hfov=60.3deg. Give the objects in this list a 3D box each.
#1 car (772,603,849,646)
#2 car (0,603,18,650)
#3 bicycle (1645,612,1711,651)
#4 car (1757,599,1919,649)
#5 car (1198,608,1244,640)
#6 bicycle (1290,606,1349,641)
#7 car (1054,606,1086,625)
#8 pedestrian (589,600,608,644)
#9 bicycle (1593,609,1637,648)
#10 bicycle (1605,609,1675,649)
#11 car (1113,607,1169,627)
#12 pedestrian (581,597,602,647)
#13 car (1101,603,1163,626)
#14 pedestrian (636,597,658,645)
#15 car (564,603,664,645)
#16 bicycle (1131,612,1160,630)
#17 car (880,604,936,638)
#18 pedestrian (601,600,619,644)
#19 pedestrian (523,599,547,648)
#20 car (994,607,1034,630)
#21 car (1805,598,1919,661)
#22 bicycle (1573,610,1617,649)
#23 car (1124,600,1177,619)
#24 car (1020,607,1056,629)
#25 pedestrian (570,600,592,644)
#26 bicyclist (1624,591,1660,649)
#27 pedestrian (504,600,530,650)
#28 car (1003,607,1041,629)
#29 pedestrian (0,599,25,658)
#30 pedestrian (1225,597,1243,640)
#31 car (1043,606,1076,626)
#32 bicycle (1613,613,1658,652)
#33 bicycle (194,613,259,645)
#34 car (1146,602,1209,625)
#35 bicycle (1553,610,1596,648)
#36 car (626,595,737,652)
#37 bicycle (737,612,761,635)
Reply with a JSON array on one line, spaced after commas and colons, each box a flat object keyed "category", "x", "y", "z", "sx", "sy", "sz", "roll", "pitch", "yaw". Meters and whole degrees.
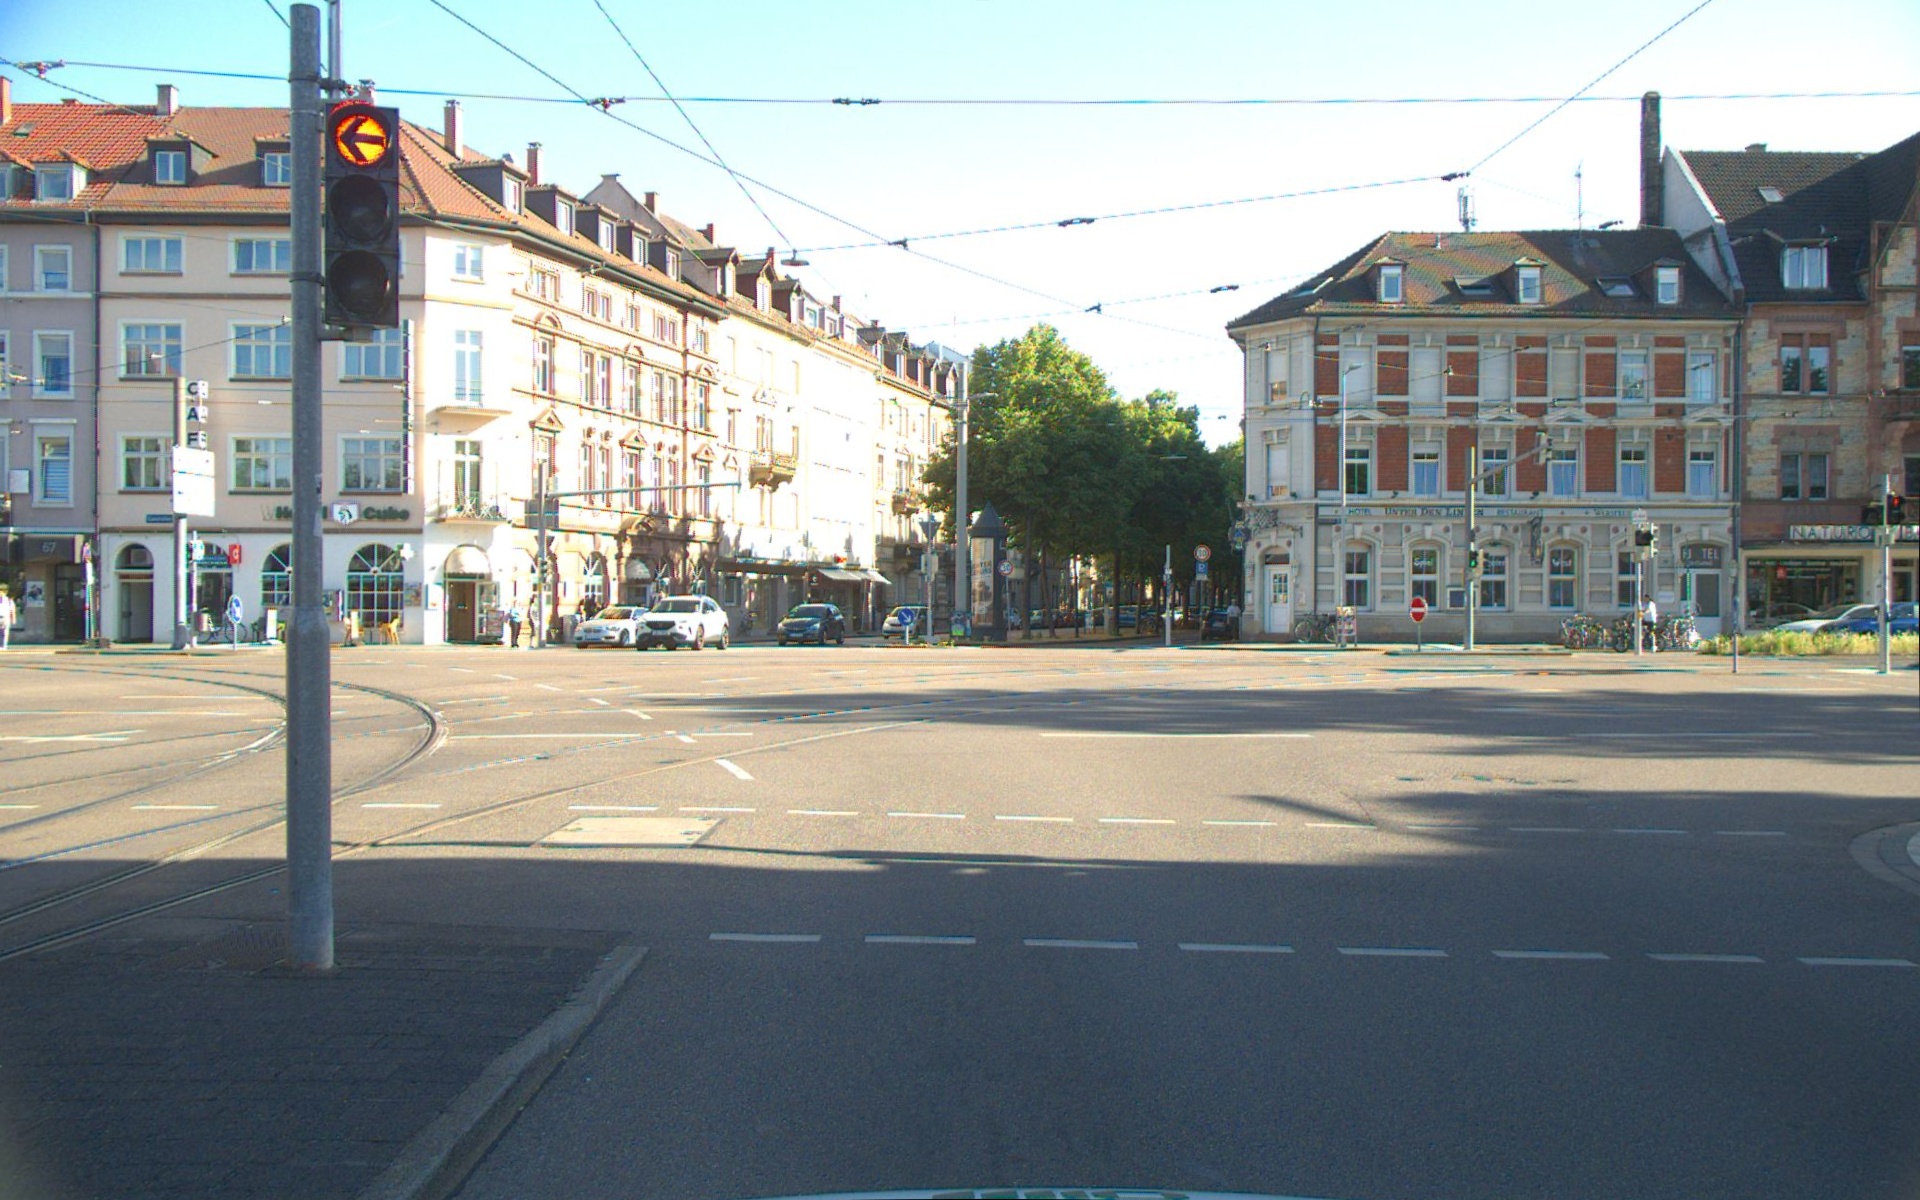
[{"category": "car", "x": -5.503, "y": 0.880, "z": 61.401, "sx": 1.736, "sy": 1.523, "sz": 4.577, "roll": 0, "pitch": 0, "yaw": 10}, {"category": "car", "x": -32.480, "y": 0.833, "z": 52.123, "sx": 4.547, "sy": 1.465, "sz": 1.743, "roll": 0, "pitch": -1, "yaw": -4}, {"category": "bicycle", "x": 23.041, "y": 1.014, "z": 53.093, "sx": 1.926, "sy": 1.211, "sz": 0.677, "roll": 0, "pitch": 0, "yaw": -13}, {"category": "car", "x": 25.965, "y": 0.704, "z": 48.919, "sx": 3.906, "sy": 1.437, "sz": 1.845, "roll": 0, "pitch": 0, "yaw": -2}, {"category": "car", "x": 13.072, "y": 1.162, "z": 82.570, "sx": 1.951, "sy": 1.523, "sz": 4.037, "roll": 0, "pitch": 0, "yaw": 13}, {"category": "bicycle", "x": 12.457, "y": 0.801, "z": 57.328, "sx": 1.919, "sy": 1.211, "sz": 0.546, "roll": 0, "pitch": 0, "yaw": 4}, {"category": "car", "x": 9.071, "y": 1.270, "z": 136.442, "sx": 1.951, "sy": 1.523, "sz": 4.037, "roll": 0, "pitch": 0, "yaw": 13}, {"category": "pedestrian", "x": -13.723, "y": 0.832, "z": 62.777, "sx": 0.620, "sy": 1.670, "sz": 0.533, "roll": 0, "pitch": 0, "yaw": -28}, {"category": "bicycle", "x": 21.157, "y": 0.900, "z": 53.471, "sx": 0.663, "sy": 1.211, "sz": 1.967, "roll": 0, "pitch": 0, "yaw": 0}, {"category": "bicycle", "x": 21.060, "y": 0.903, "z": 51.212, "sx": 1.920, "sy": 1.211, "sz": 0.602, "roll": 0, "pitch": 0, "yaw": 2}, {"category": "car", "x": 14.070, "y": 1.319, "z": 128.473, "sx": 3.910, "sy": 1.572, "sz": 1.998, "roll": 0, "pitch": 0, "yaw": 28}, {"category": "pedestrian", "x": -13.791, "y": 0.826, "z": 61.896, "sx": 0.567, "sy": 1.868, "sz": 0.633, "roll": 0, "pitch": 0, "yaw": 15}, {"category": "car", "x": 12.032, "y": 1.007, "z": 115.804, "sx": 3.910, "sy": 1.572, "sz": 1.998, "roll": 0, "pitch": 0, "yaw": 28}, {"category": "pedestrian", "x": -12.693, "y": 0.833, "z": 67.034, "sx": 0.667, "sy": 1.942, "sz": 0.633, "roll": 0, "pitch": 0, "yaw": 15}, {"category": "car", "x": -11.912, "y": 0.810, "z": 57.198, "sx": 1.951, "sy": 1.379, "sz": 4.226, "roll": 0, "pitch": 0, "yaw": 10}, {"category": "bicycle", "x": 11.164, "y": 1.265, "z": 99.375, "sx": 0.577, "sy": 1.086, "sz": 1.924, "roll": 0, "pitch": 0, "yaw": -37}, {"category": "car", "x": -2.380, "y": 0.962, "z": 76.325, "sx": 1.681, "sy": 1.523, "sz": 3.586, "roll": 0, "pitch": 0, "yaw": 13}, {"category": "pedestrian", "x": -13.269, "y": 0.841, "z": 62.765, "sx": 0.524, "sy": 1.670, "sz": 0.553, "roll": 0, "pitch": 0, "yaw": 6}, {"category": "pedestrian", "x": -14.649, "y": 0.792, "z": 56.968, "sx": 0.617, "sy": 1.670, "sz": 0.553, "roll": 0, "pitch": 0, "yaw": 13}, {"category": "car", "x": 3.704, "y": 1.229, "z": 112.885, "sx": 1.951, "sy": 1.523, "sz": 4.037, "roll": 0, "pitch": 0, "yaw": 13}, {"category": "car", "x": 25.913, "y": 0.794, "z": 45.923, "sx": 3.906, "sy": 1.697, "sz": 1.954, "roll": 0, "pitch": 0, "yaw": -2}, {"category": "bicycle", "x": 20.519, "y": 0.955, "z": 53.460, "sx": 0.663, "sy": 1.211, "sz": 1.967, "roll": 0, "pitch": 0, "yaw": 0}, {"category": "car", "x": 15.496, "y": 0.763, "z": 134.615, "sx": 3.910, "sy": 1.572, "sz": 1.998, "roll": 0, "pitch": 0, "yaw": 28}, {"category": "car", "x": 5.796, "y": 1.309, "z": 122.639, "sx": 1.951, "sy": 1.523, "sz": 4.037, "roll": 0, "pitch": 0, "yaw": 13}, {"category": "pedestrian", "x": -14.275, "y": 0.821, "z": 62.322, "sx": 0.617, "sy": 1.670, "sz": 0.553, "roll": 0, "pitch": 0, "yaw": 13}, {"category": "bicyclist", "x": 21.107, "y": 0.613, "z": 51.208, "sx": 0.854, "sy": 1.795, "sz": 0.602, "roll": 0, "pitch": 0, "yaw": 2}, {"category": "pedestrian", "x": -14.926, "y": 0.836, "z": 55.702, "sx": 0.661, "sy": 1.670, "sz": 0.579, "roll": 0, "pitch": 0, "yaw": 13}, {"category": "car", "x": 4.450, "y": 1.260, "z": 117.383, "sx": 1.951, "sy": 1.523, "sz": 4.037, "roll": 0, "pitch": 0, "yaw": 13}, {"category": "pedestrian", "x": -26.892, "y": 0.794, "z": 46.642, "sx": 0.711, "sy": 1.655, "sz": 0.671, "roll": 0, "pitch": 0, "yaw": -6}, {"category": "pedestrian", "x": 10.911, "y": 0.736, "z": 65.867, "sx": 0.700, "sy": 1.698, "sz": 0.940, "roll": 0, "pitch": 0, "yaw": 11}, {"category": "car", "x": 7.954, "y": 1.293, "z": 131.642, "sx": 1.951, "sy": 1.523, "sz": 4.037, "roll": 0, "pitch": 0, "yaw": 13}, {"category": "bicycle", "x": 21.820, "y": 1.028, "z": 53.473, "sx": 0.663, "sy": 1.211, "sz": 1.967, "roll": 0, "pitch": 0, "yaw": 0}, {"category": "bicycle", "x": -24.907, "y": 0.974, "z": 56.194, "sx": 1.906, "sy": 1.086, "sz": 0.582, "roll": 0, "pitch": 0, "yaw": -8}, {"category": "car", "x": 15.333, "y": 0.948, "z": 116.671, "sx": 3.913, "sy": 1.572, "sz": 1.996, "roll": 0, "pitch": 0, "yaw": 30}, {"category": "bicycle", "x": 19.830, "y": 0.927, "z": 53.424, "sx": 0.663, "sy": 1.211, "sz": 1.967, "roll": 0, "pitch": 0, "yaw": 0}, {"category": "car", "x": -7.794, "y": 0.636, "z": 46.756, "sx": 1.951, "sy": 1.523, "sz": 4.350, "roll": 0, "pitch": 0, "yaw": 7}, {"category": "bicycle", "x": -10.133, "y": 1.130, "z": 79.356, "sx": 0.484, "sy": 1.086, "sz": 1.771, "roll": 0, "pitch": 0, "yaw": 15}]
